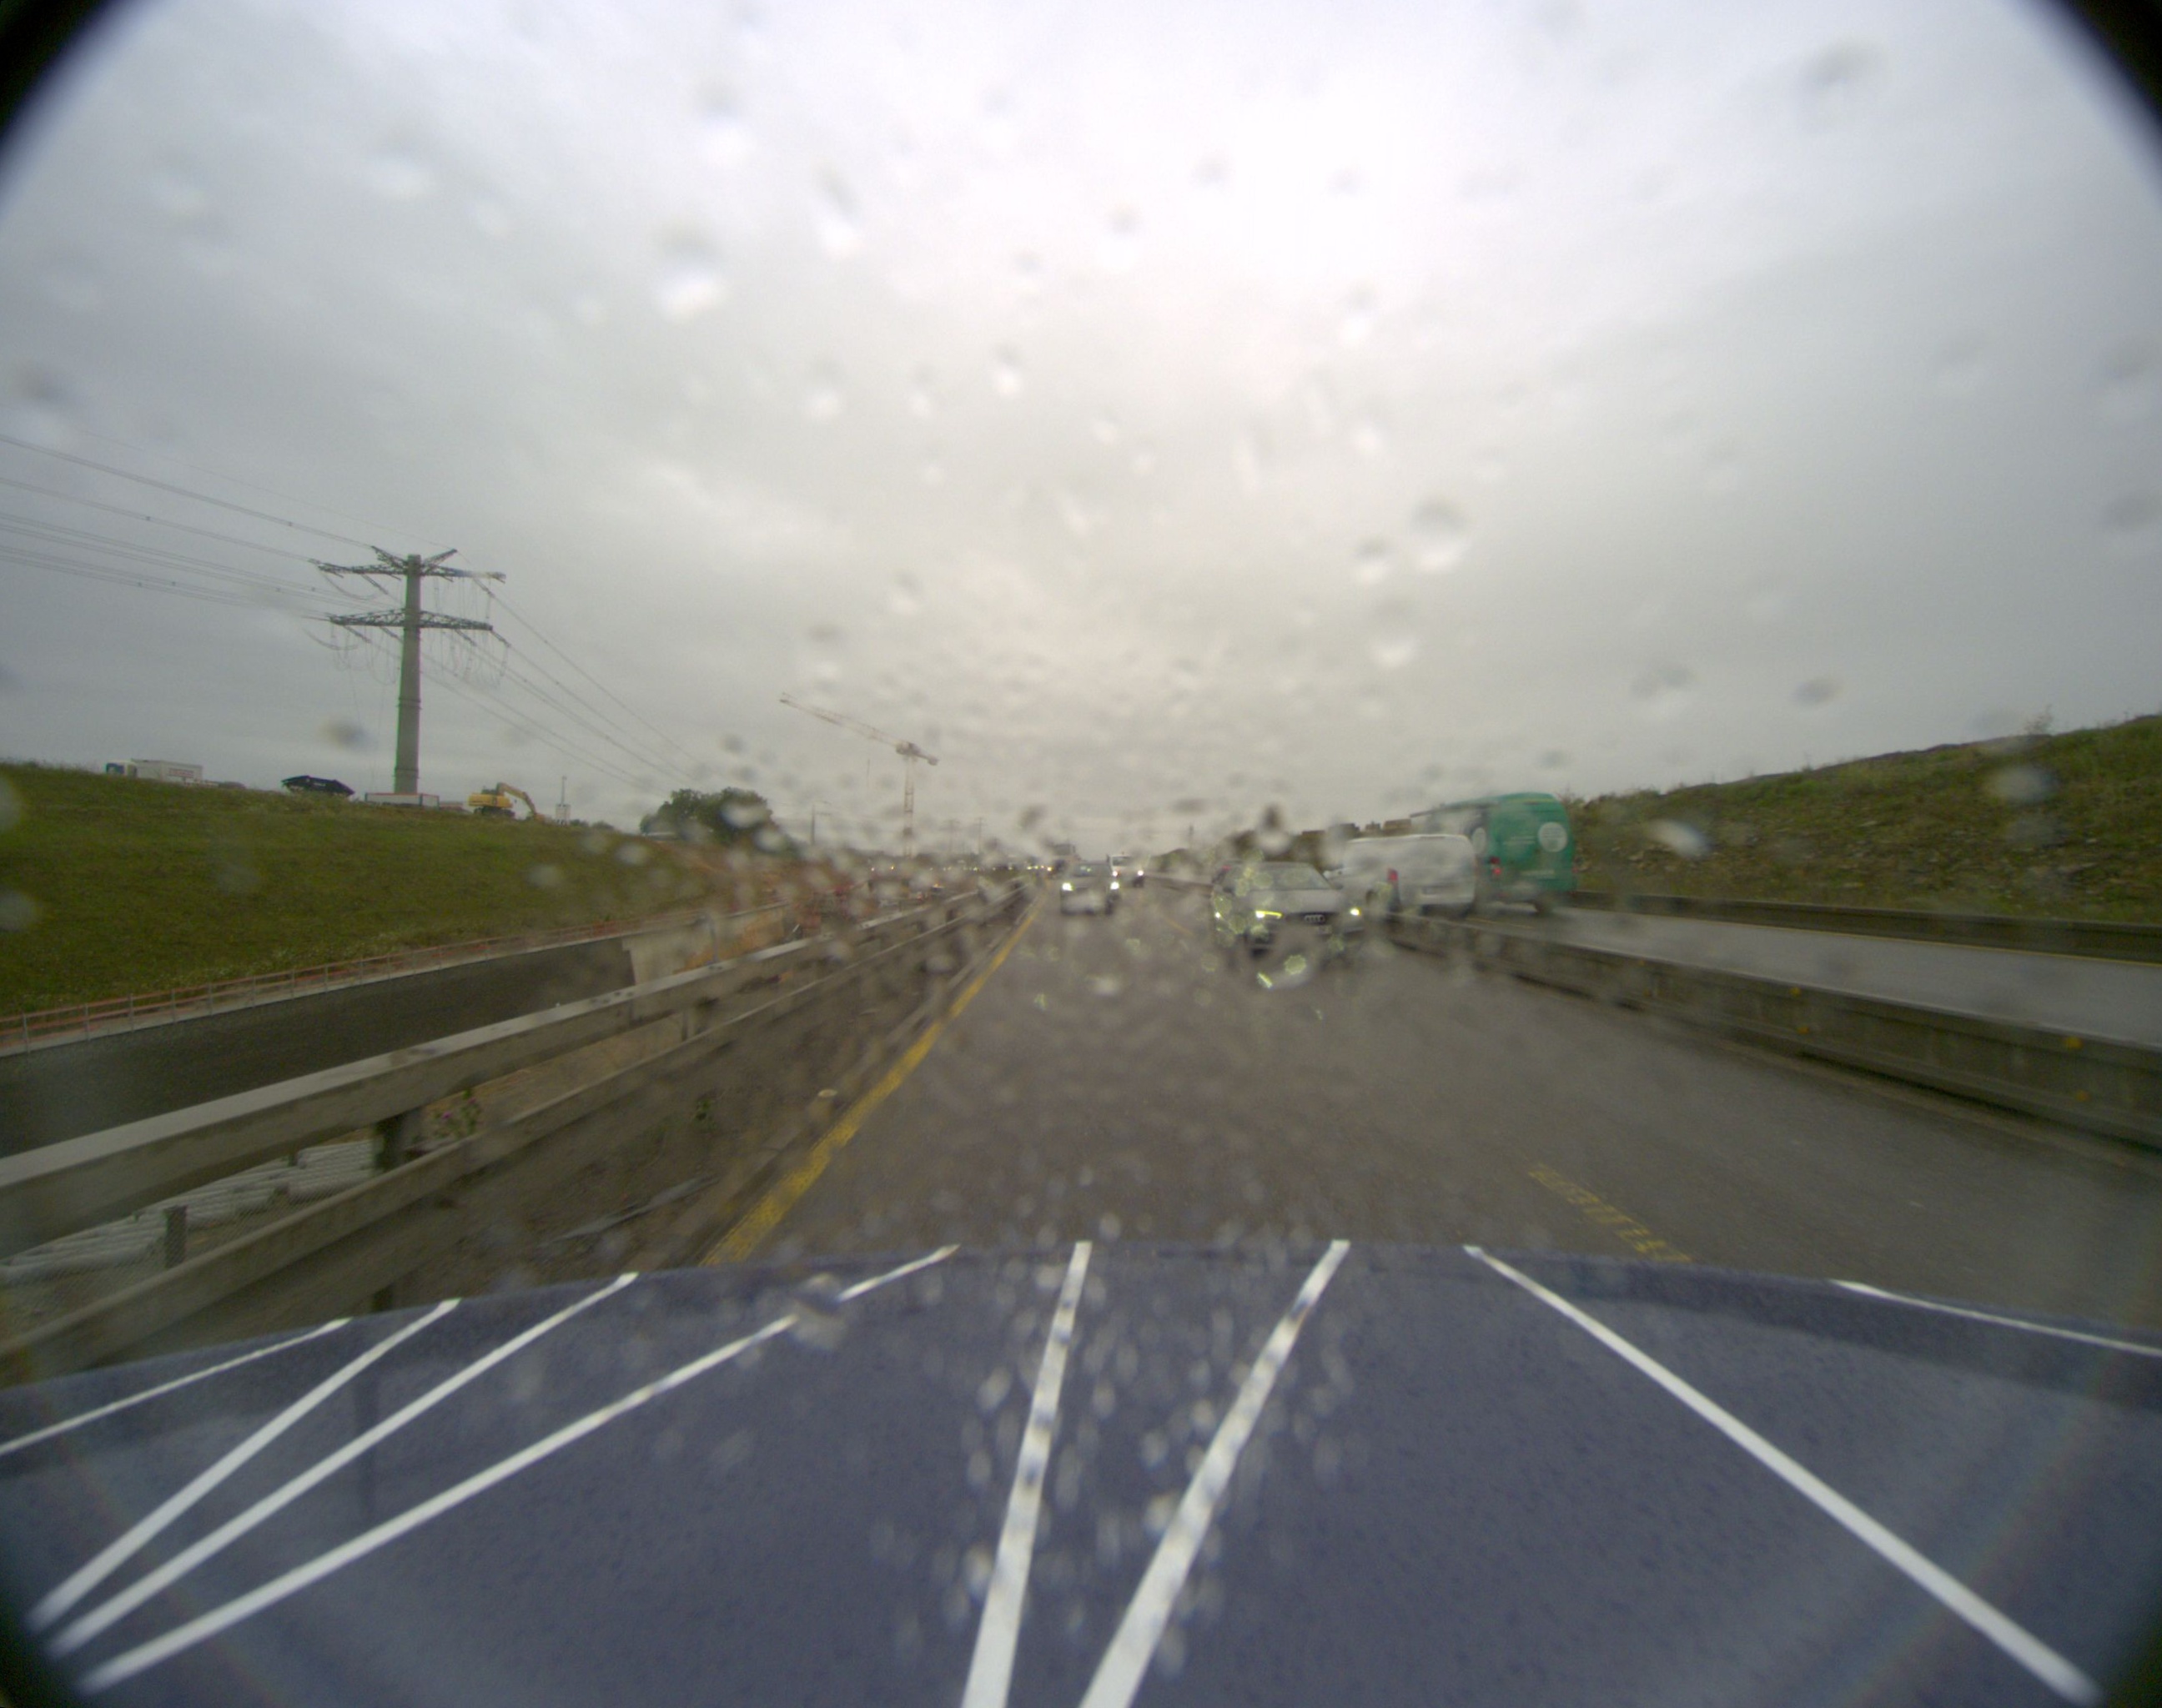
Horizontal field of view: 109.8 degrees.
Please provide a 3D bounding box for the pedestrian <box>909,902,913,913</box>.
[{"bbox_3d":[-31.531,9.948,141.074,0.603,1.894,0.614,0,1,-9],"label":"pedestrian"}]

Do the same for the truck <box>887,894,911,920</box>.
[{"bbox_3d":[-29.993,8.687,125.754,2.711,3.591,9.067,0,1,-6],"label":"truck"}]

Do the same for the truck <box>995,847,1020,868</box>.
[{"bbox_3d":[-16.508,0.842,170.201,4.321,4.319,13.397,-3,0,-10],"label":"truck"}]

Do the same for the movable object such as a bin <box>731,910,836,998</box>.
[{"bbox_3d":[-26.643,8.766,69.172,4.907,5.639,12.082,-4,3,-2],"label":"movable object such as a bin"}]

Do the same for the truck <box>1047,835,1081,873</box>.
[{"bbox_3d":[-1.754,-0.020,74.728,2.857,3.462,8.640,-2,0,-4],"label":"truck"}]

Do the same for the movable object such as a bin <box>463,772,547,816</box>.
[{"bbox_3d":[-63.247,-6.495,83.685,3.107,4.181,8.177,-1,0,-2],"label":"movable object such as a bin"}]

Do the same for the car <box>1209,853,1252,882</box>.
[{"bbox_3d":[8.823,0.771,45.160,1.718,1.527,4.046,-3,0,0],"label":"car"}]

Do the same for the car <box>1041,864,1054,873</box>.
[{"bbox_3d":[-6.042,2.549,136.450,1.791,1.418,3.997,-3,0,-10],"label":"car"}]

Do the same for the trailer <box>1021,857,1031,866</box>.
[{"bbox_3d":[-16.110,2.292,223.880,2.518,2.549,7.158,-3,0,-7],"label":"trailer"}]

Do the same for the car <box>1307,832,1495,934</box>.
[{"bbox_3d":[6.938,0.552,17.222,2.005,1.876,5.274,-3,0,0],"label":"car"}]

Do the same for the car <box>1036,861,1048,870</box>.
[{"bbox_3d":[-7.910,2.303,154.650,1.791,1.646,3.996,-3,0,-12],"label":"car"}]

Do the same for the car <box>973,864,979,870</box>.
[{"bbox_3d":[-31.826,3.935,230.050,1.791,1.418,3.997,-3,0,-10],"label":"car"}]

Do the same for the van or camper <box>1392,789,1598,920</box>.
[{"bbox_3d":[10.386,0.004,19.792,2.105,2.801,5.943,-3,0,1],"label":"van or camper"}]

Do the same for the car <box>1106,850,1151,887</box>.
[{"bbox_3d":[2.676,0.773,43.998,2.070,1.933,5.155,-2,0,-2],"label":"car"}]

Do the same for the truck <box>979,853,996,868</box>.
[{"bbox_3d":[-26.276,1.894,213.164,3.550,3.870,8.325,-3,0,-16],"label":"truck"}]

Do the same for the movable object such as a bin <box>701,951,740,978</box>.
[{"bbox_3d":[-35.635,10.913,75.256,2.524,1.900,3.254,-4,1,-8],"label":"movable object such as a bin"}]

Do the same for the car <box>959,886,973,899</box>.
[{"bbox_3d":[-24.647,8.246,163.168,1.999,2.002,3.999,-15,0,-2],"label":"car"}]

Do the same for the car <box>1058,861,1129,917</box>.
[{"bbox_3d":[0.283,0.997,23.297,1.875,1.481,4.260,-2,0,-3],"label":"car"}]

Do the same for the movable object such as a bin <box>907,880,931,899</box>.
[{"bbox_3d":[-33.795,7.433,159.173,3.517,3.405,6.651,-2,1,0],"label":"movable object such as a bin"}]

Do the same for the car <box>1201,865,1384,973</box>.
[{"bbox_3d":[3.243,0.926,12.521,1.805,1.375,4.087,-2,0,-1],"label":"car"}]

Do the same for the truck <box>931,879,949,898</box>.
[{"bbox_3d":[-30.778,7.496,166.171,3.363,3.521,8.898,-1,2,-8],"label":"truck"}]

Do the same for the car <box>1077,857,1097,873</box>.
[{"bbox_3d":[0.668,1.261,86.678,1.790,1.744,3.998,-3,0,-6],"label":"car"}]

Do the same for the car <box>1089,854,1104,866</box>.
[{"bbox_3d":[2.158,0.821,107.653,1.816,1.584,4.901,0,0,-2],"label":"car"}]
